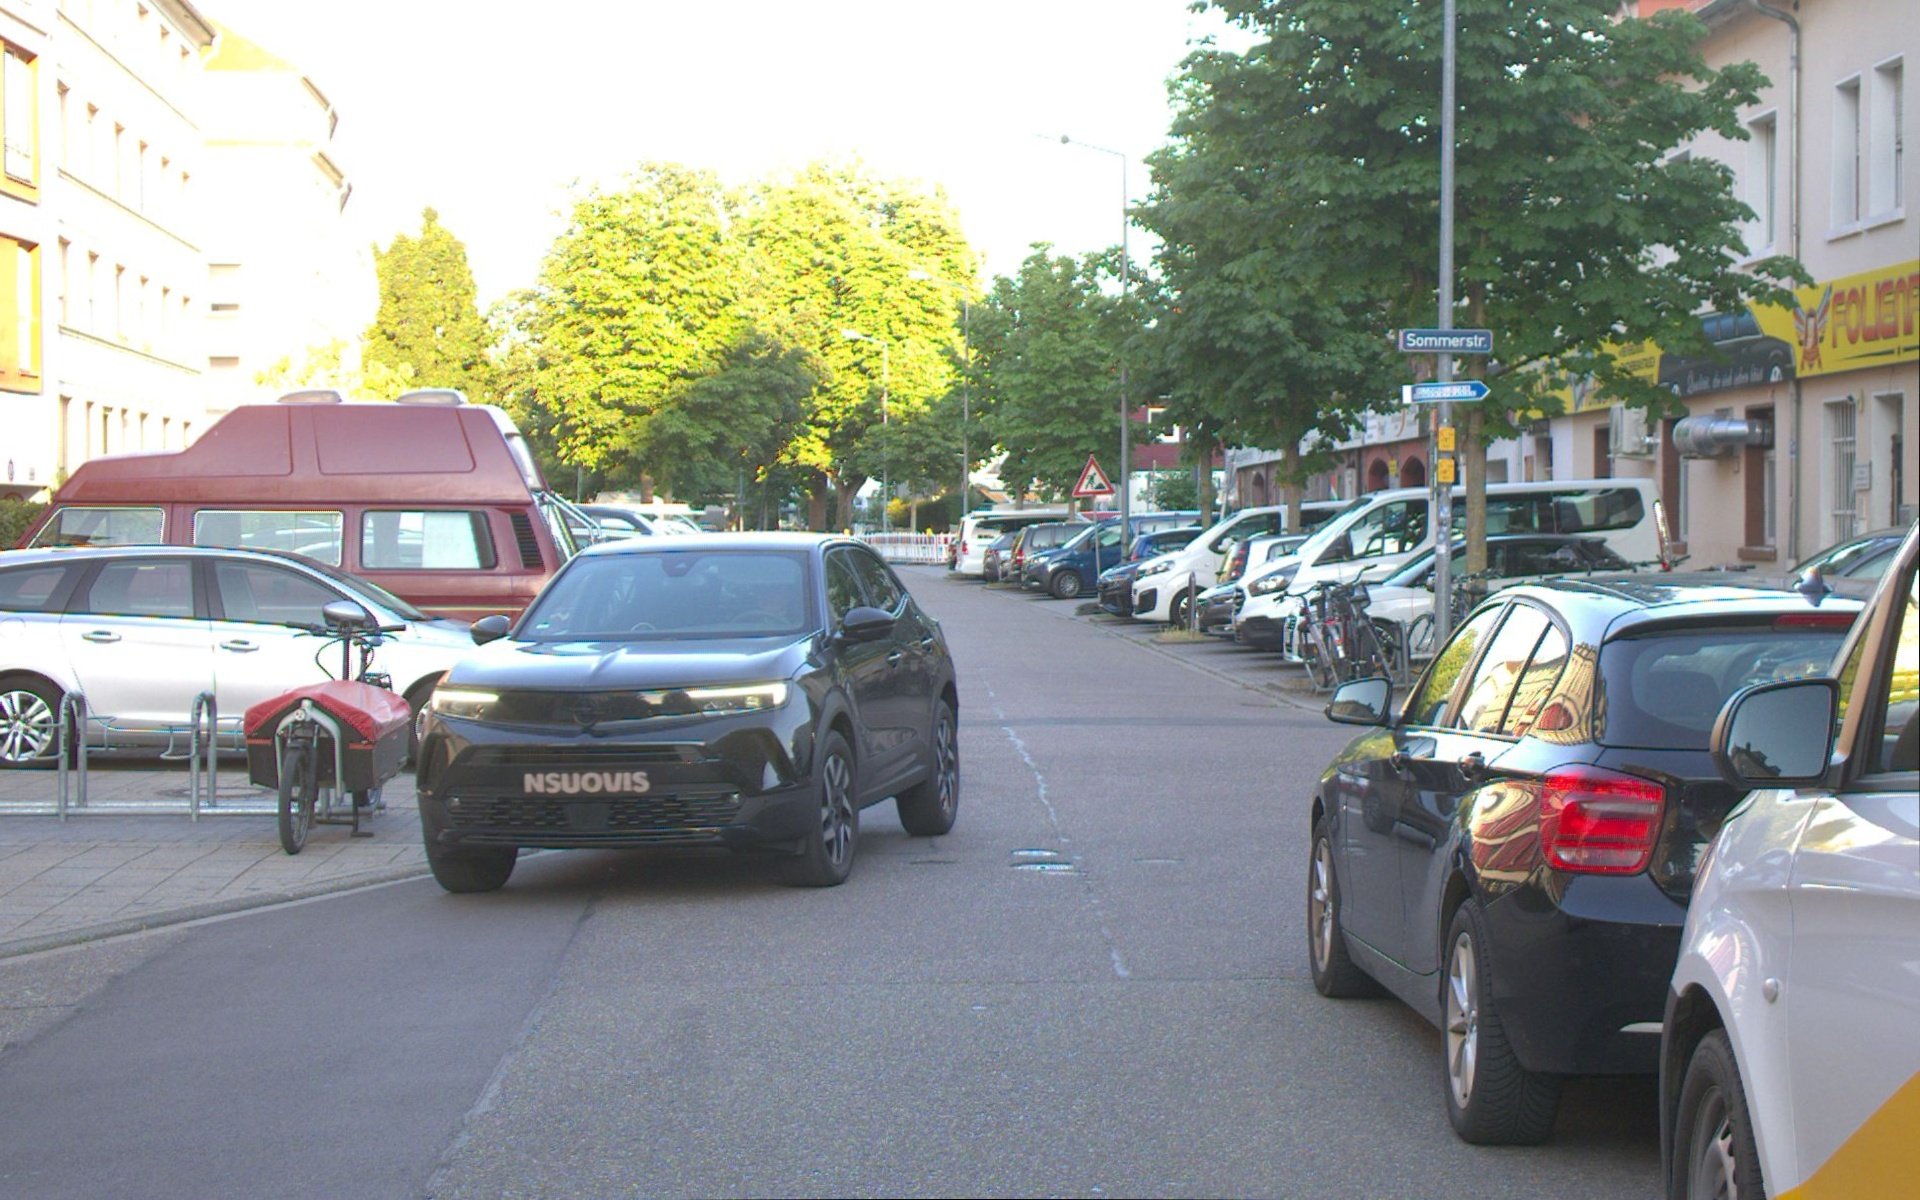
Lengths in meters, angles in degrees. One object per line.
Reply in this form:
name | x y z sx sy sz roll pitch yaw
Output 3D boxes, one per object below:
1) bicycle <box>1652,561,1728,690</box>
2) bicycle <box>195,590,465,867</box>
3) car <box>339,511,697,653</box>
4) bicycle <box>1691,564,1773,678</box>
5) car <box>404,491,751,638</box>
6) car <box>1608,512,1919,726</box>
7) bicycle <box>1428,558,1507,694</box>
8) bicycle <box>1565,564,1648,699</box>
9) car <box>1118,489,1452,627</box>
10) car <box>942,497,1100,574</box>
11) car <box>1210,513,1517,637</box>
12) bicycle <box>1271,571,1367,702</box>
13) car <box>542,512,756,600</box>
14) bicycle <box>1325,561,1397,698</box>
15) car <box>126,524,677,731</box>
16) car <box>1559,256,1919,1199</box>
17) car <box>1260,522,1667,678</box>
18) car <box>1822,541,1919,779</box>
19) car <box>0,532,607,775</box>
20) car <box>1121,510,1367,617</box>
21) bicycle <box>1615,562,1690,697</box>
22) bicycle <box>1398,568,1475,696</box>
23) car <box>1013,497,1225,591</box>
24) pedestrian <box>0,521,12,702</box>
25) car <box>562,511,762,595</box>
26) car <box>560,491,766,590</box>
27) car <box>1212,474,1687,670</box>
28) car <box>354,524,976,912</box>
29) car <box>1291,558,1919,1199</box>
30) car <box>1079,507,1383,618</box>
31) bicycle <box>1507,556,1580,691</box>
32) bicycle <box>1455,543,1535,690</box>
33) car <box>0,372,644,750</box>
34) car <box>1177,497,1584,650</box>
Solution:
bicycle | 6.769 0.221 31.934 0.353 1.139 1.481 -1 1 -1
bicycle | -3.149 0.595 17.483 0.808 1.217 2.865 1 1 0
car | -5.527 -0.243 43.402 4.256 1.654 2.000 1 1 -1
bicycle | 7.173 0.183 31.981 0.387 1.013 1.481 -1 1 -1
car | -5.552 -0.532 50.309 4.850 2.014 1.907 1 1 -1
car | 7.262 0.100 26.863 4.050 1.509 1.756 -1 3 0
bicycle | 4.716 0.220 32.028 0.386 1.196 2.017 -1 1 -1
bicycle | 5.981 0.277 31.858 0.445 1.196 1.481 -1 1 -1
car | 5.080 -0.668 54.204 4.943 1.951 2.049 -2 1 -2
car | 1.609 -1.730 92.093 3.967 1.905 2.050 -2 1 -5
car | 5.461 -0.360 46.928 3.911 1.521 1.939 -2 1 0
bicycle | 3.306 0.319 31.815 0.438 1.126 2.018 -1 1 -6
car | -6.428 -0.933 71.397 4.256 1.709 2.000 1 1 -1
bicycle | 3.720 0.256 32.003 0.386 1.196 2.017 -1 1 -1
car | -4.458 0.201 27.913 4.208 1.532 1.791 1 1 -3
car | 2.197 0.504 4.227 1.893 1.877 5.083 0 1 -2
car | 5.254 -0.021 36.166 3.918 1.446 1.769 -2 1 -3
car | 7.771 0.340 22.254 3.928 1.450 1.658 -1 2 -3
car | -4.696 0.320 22.766 4.615 1.455 1.881 1 1 -4
car | 5.257 -0.694 63.961 4.316 1.798 1.811 -2 1 -2
bicycle | 6.411 0.260 31.851 0.353 1.196 1.481 -1 1 -1
bicycle | 4.431 0.281 32.041 0.386 1.110 2.017 -1 1 -1
car | 3.521 -1.247 76.587 4.478 1.905 1.688 -2 1 -5
pedestrian | -8.365 0.089 28.392 0.832 1.496 0.798 1 1 0
car | -6.577 -1.040 76.167 4.256 1.743 2.000 1 1 -1
car | -6.773 -1.370 78.797 4.533 2.127 2.000 1 1 -1
car | 5.471 -0.338 38.948 4.990 1.976 2.220 -2 1 0
car | -1.186 0.438 15.709 1.780 1.512 3.998 -1 1 11
car | 2.057 0.632 9.704 1.721 1.419 4.254 1 1 -1
car | 4.616 -0.654 59.046 4.943 1.683 2.077 -2 1 -2
bicycle | 5.400 0.202 31.885 0.386 1.196 1.481 -1 1 -1
bicycle | 4.976 0.131 32.037 0.386 1.300 2.017 -1 1 -1
car | -4.709 -0.302 25.331 4.511 2.575 2.000 1 1 1
car | 5.356 -0.358 44.294 4.944 1.736 2.049 -2 1 0
